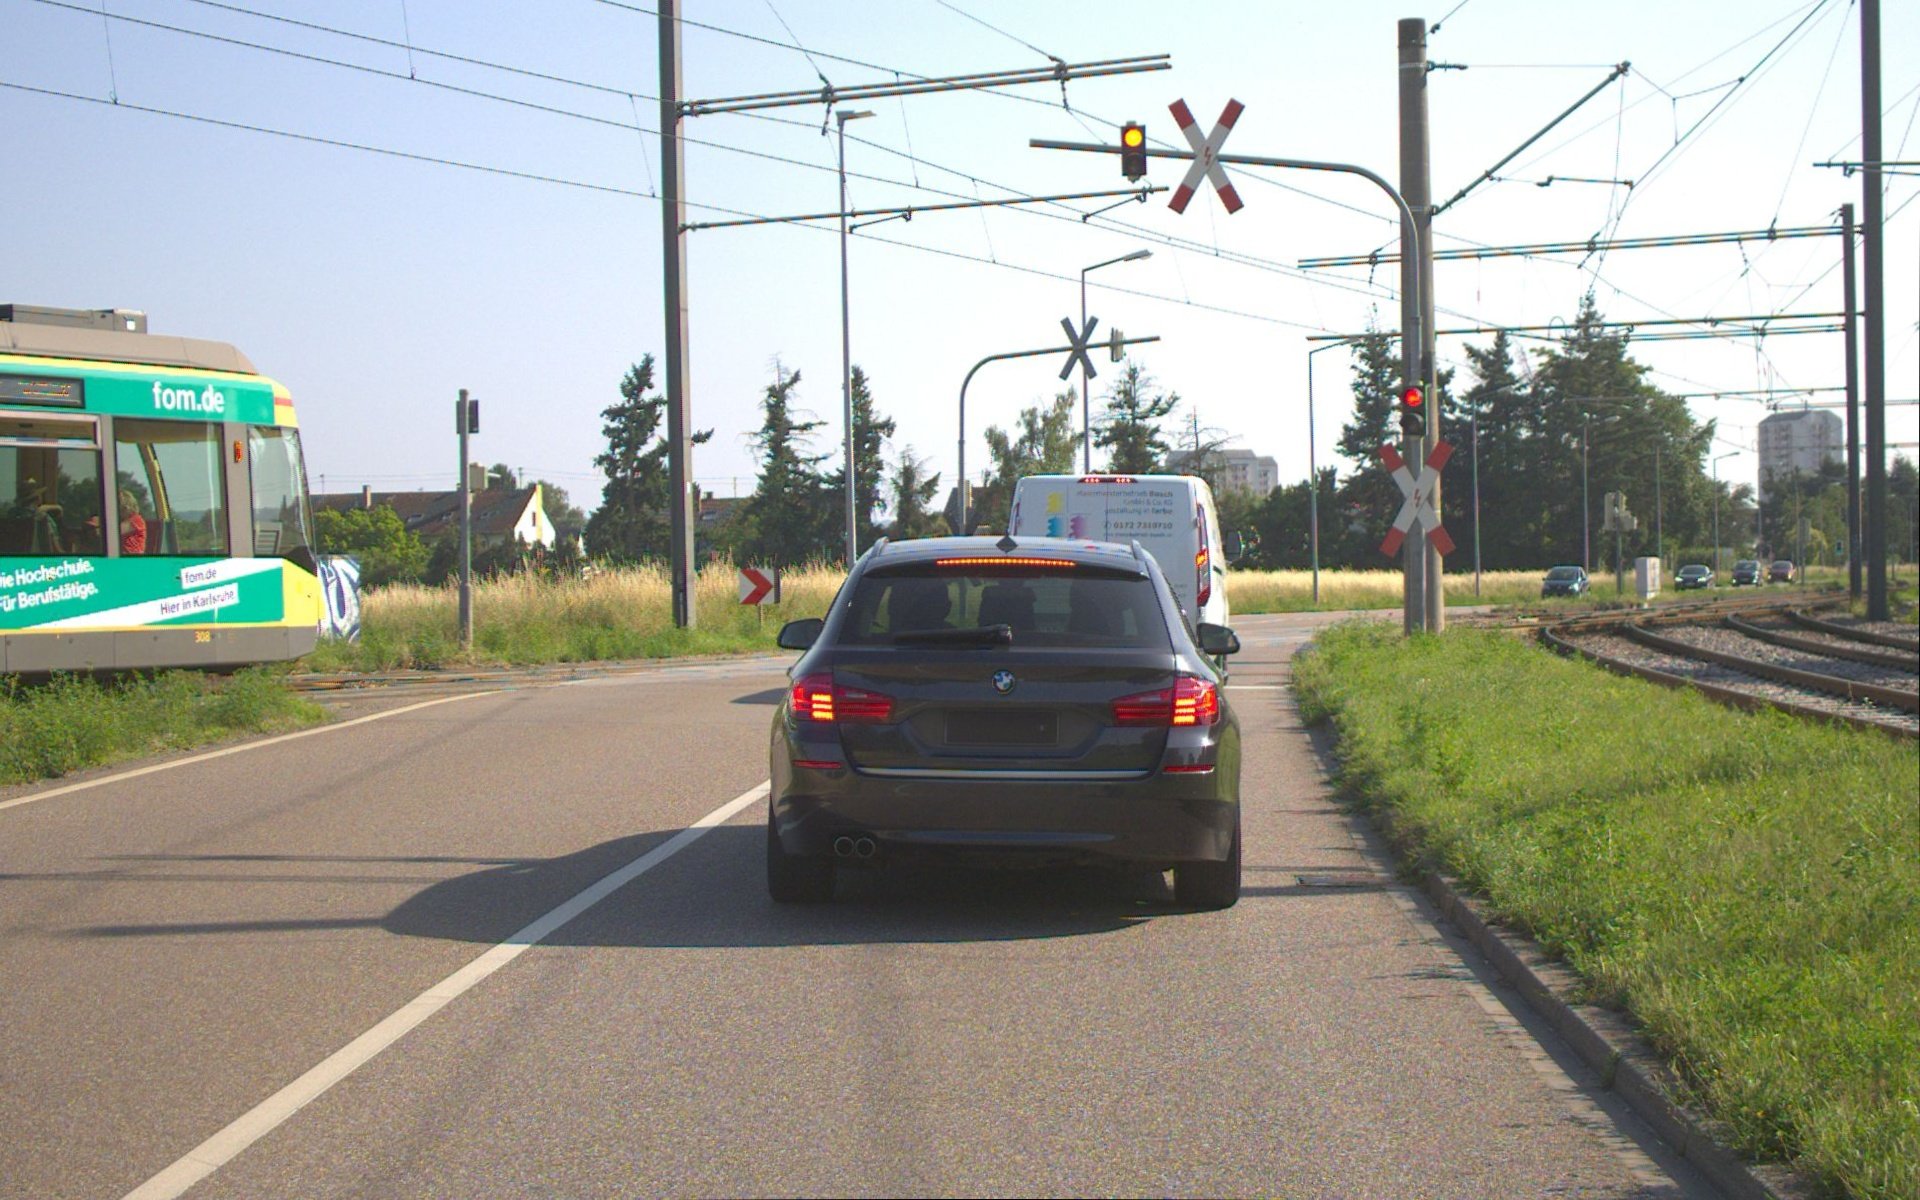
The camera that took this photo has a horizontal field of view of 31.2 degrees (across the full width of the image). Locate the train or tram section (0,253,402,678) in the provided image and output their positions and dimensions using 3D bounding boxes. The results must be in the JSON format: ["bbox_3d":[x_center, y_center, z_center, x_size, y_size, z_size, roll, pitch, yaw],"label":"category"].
[{"bbox_3d":[-10.001,-1.172,28.085,2.911,3.556,14.239,1,-1,27],"label":"train or tram section"}]

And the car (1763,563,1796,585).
[{"bbox_3d":[56.631,-1.799,237.564,1.714,1.544,3.924,0,1,21],"label":"car"}]

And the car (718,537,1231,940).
[{"bbox_3d":[0.118,0.460,14.910,1.869,1.447,4.744,0,1,2],"label":"car"}]

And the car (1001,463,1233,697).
[{"bbox_3d":[1.534,-0.210,31.793,1.858,1.981,5.107,0,1,6],"label":"car"}]

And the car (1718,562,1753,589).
[{"bbox_3d":[49.349,-1.573,218.795,1.708,1.659,4.585,0,1,19],"label":"car"}]

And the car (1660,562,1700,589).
[{"bbox_3d":[39.672,-1.343,189.419,1.694,1.435,4.280,1,1,18],"label":"car"}]
